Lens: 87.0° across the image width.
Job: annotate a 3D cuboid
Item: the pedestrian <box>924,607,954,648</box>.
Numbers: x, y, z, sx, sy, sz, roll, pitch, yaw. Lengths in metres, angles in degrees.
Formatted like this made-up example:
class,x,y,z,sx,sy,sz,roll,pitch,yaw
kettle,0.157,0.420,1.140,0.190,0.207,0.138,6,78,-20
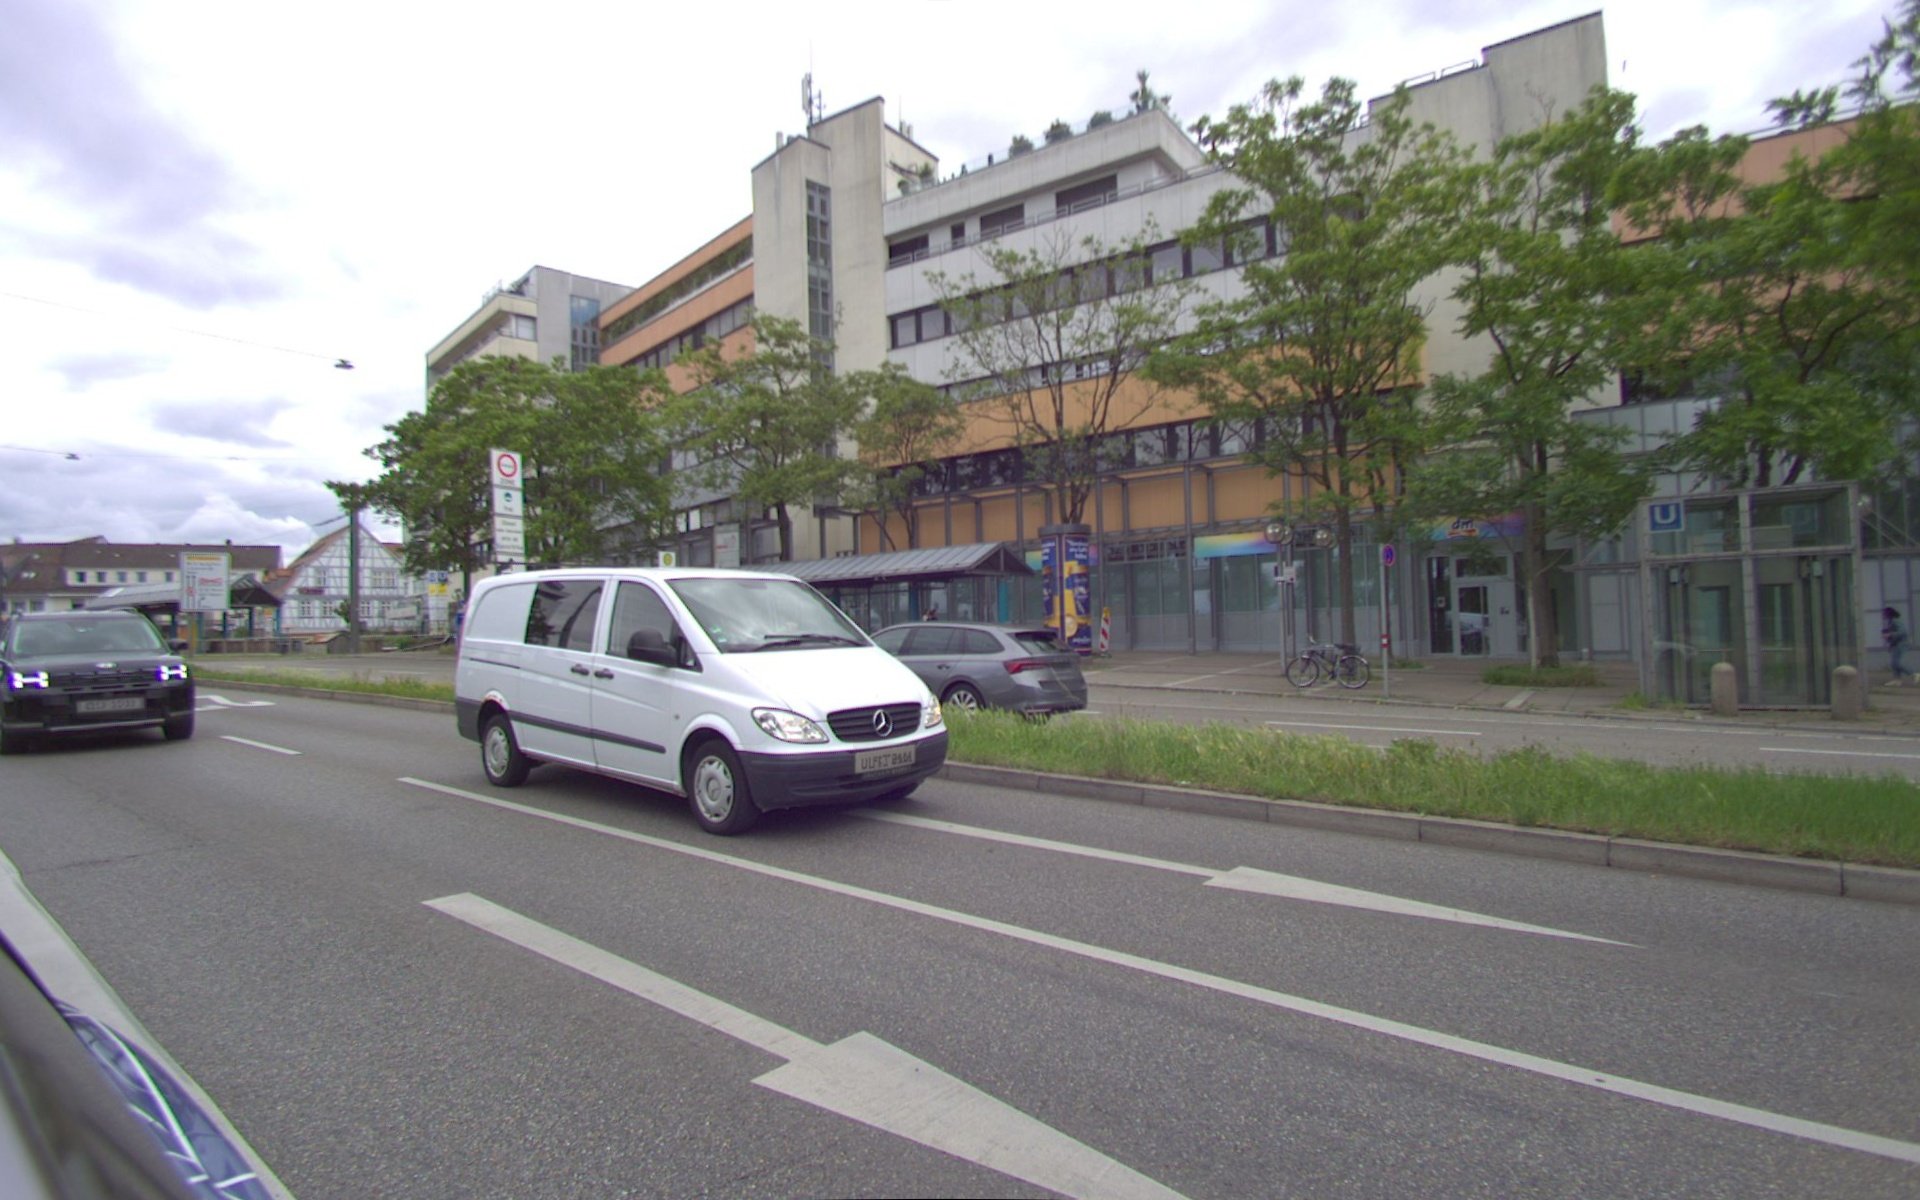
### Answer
class,x,y,z,sx,sy,sz,roll,pitch,yaw
pedestrian,-0.879,1.136,41.656,0.995,1.630,0.726,-2,-2,37

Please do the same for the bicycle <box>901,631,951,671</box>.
class,x,y,z,sx,sy,sz,roll,pitch,yaw
bicycle,-1.050,1.569,31.495,0.707,1.162,2.054,-1,-2,24

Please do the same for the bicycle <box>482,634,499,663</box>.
class,x,y,z,sx,sy,sz,roll,pitch,yaw
bicycle,-20.894,2.155,45.023,0.425,1.263,1.474,0,-2,-14

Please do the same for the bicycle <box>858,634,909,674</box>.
class,x,y,z,sx,sy,sz,roll,pitch,yaw
bicycle,-2.401,1.687,31.964,0.707,1.162,2.054,-1,0,24

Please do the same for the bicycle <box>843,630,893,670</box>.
class,x,y,z,sx,sy,sz,roll,pitch,yaw
bicycle,-2.973,1.609,32.910,0.707,1.162,2.054,-1,0,24

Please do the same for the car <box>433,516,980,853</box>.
class,x,y,z,sx,sy,sz,roll,pitch,yaw
car,-2.385,0.584,8.479,5.072,2.029,1.854,-2,-2,41

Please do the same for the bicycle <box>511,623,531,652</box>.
class,x,y,z,sx,sy,sz,roll,pitch,yaw
bicycle,-19.453,1.639,44.849,0.616,1.263,1.688,0,-2,-17

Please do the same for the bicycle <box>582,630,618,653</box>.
class,x,y,z,sx,sy,sz,roll,pitch,yaw
bicycle,-21.469,2.445,60.388,1.941,1.329,0.707,1,-2,-34

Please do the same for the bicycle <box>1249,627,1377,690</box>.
class,x,y,z,sx,sy,sz,roll,pitch,yaw
bicycle,7.703,1.253,22.153,2.420,1.280,1.042,-2,0,37

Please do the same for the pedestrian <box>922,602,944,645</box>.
class,x,y,z,sx,sy,sz,roll,pitch,yaw
pedestrian,-1.029,0.913,38.858,0.675,1.656,0.526,-2,-3,41

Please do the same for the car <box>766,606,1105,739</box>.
class,x,y,z,sx,sy,sz,roll,pitch,yaw
car,-0.435,0.930,14.220,4.507,1.586,1.976,-1,-2,36

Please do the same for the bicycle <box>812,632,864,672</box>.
class,x,y,z,sx,sy,sz,roll,pitch,yaw
bicycle,-4.015,1.705,33.399,0.707,1.162,2.055,-2,1,24

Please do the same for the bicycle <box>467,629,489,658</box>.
class,x,y,z,sx,sy,sz,roll,pitch,yaw
bicycle,-21.600,1.923,45.391,0.616,1.263,1.688,0,-2,-16

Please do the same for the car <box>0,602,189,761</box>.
class,x,y,z,sx,sy,sz,roll,pitch,yaw
car,-11.845,0.959,13.507,1.900,1.765,4.681,0,-1,-45

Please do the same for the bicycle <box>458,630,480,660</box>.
class,x,y,z,sx,sy,sz,roll,pitch,yaw
bicycle,-20.924,1.901,43.143,0.616,1.263,1.688,0,-2,-17

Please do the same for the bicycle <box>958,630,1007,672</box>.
class,x,y,z,sx,sy,sz,roll,pitch,yaw
bicycle,0.696,1.519,30.439,0.707,1.162,2.054,-1,-1,24

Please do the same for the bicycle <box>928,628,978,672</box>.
class,x,y,z,sx,sy,sz,roll,pitch,yaw
bicycle,-0.200,1.503,30.935,0.707,1.162,2.055,-1,2,24

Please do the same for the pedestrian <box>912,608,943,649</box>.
class,x,y,z,sx,sy,sz,roll,pitch,yaw
pedestrian,-1.323,1.138,40.956,0.995,1.630,0.726,-2,-2,37
